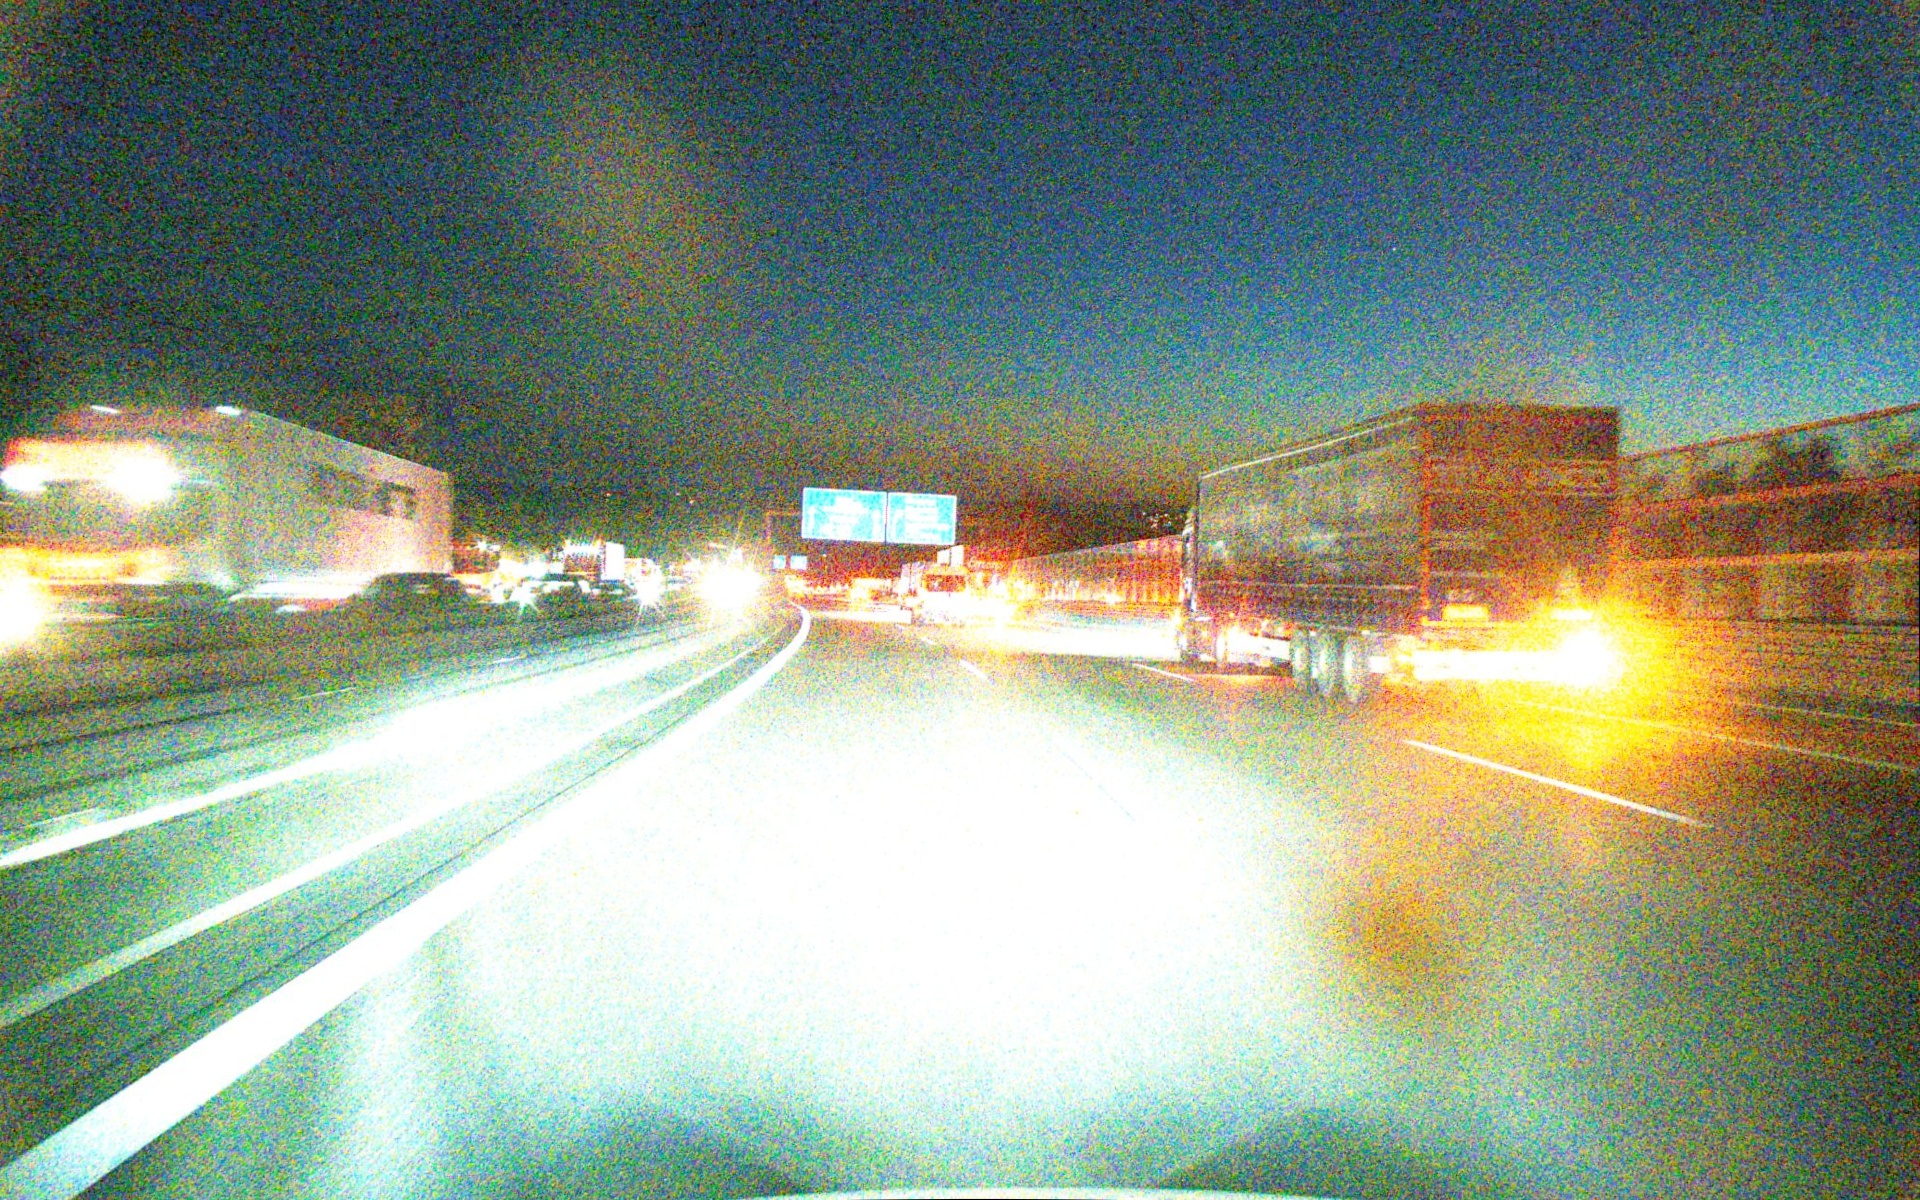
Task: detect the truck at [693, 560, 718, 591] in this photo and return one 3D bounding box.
[{"bbox_3d":[-32.980,-3.132,214.645,2.820,3.737,6.768,4,-1,-8],"label":"truck"}]

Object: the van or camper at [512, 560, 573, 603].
[{"bbox_3d":[-21.343,-0.925,84.826,2.146,2.049,7.628,2,0,-8],"label":"van or camper"}]

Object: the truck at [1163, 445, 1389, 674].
[{"bbox_3d":[6.225,-0.756,33.858,2.805,4.148,7.506,0,0,-3],"label":"truck"}]

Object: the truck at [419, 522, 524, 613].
[{"bbox_3d":[-19.475,-1.206,66.277,2.592,3.275,5.790,4,-1,-4],"label":"truck"}]

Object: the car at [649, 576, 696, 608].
[{"bbox_3d":[-13.184,-0.373,76.023,1.539,1.378,3.998,2,0,-2],"label":"car"}]

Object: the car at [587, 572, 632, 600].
[{"bbox_3d":[-17.961,-0.711,84.786,1.539,1.378,3.998,2,0,-2],"label":"car"}]

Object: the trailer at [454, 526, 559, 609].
[{"bbox_3d":[-19.959,-1.306,73.309,2.555,3.231,8.995,4,-1,-4],"label":"trailer"}]

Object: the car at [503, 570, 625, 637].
[{"bbox_3d":[-9.442,0.059,39.754,1.836,1.451,4.512,2,0,-1],"label":"car"}]

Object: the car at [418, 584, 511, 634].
[{"bbox_3d":[-14.402,0.250,48.266,1.539,1.338,4.159,2,0,-2],"label":"car"}]

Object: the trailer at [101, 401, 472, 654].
[{"bbox_3d":[-13.421,-1.154,34.725,3.029,4.159,12.440,4,-1,-3],"label":"trailer"}]

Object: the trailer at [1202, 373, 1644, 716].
[{"bbox_3d":[6.602,-0.707,26.708,2.797,4.138,13.197,0,0,-3],"label":"trailer"}]

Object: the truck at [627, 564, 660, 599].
[{"bbox_3d":[-30.109,-1.697,157.485,2.507,3.038,7.441,2,-1,-7],"label":"truck"}]

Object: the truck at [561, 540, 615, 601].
[{"bbox_3d":[-23.427,-1.814,104.470,2.357,3.575,6.715,3,0,-6],"label":"truck"}]

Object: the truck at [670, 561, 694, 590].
[{"bbox_3d":[-38.837,-3.414,231.033,2.823,3.737,6.034,3,0,-12],"label":"truck"}]

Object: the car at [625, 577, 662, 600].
[{"bbox_3d":[-20.256,-0.752,106.047,1.761,1.378,4.236,2,0,-4],"label":"car"}]

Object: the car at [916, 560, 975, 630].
[{"bbox_3d":[-0.584,-0.147,69.105,2.289,2.686,5.246,2,-1,0],"label":"car"}]

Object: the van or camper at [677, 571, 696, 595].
[{"bbox_3d":[-31.887,-1.923,192.839,2.046,2.678,7.587,2,0,-10],"label":"van or camper"}]

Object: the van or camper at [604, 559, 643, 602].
[{"bbox_3d":[-27.380,-1.592,134.905,2.386,3.329,7.383,2,0,-7],"label":"van or camper"}]

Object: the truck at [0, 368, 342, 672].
[{"bbox_3d":[-12.997,-1.110,27.283,3.048,4.168,7.070,4,-1,-4],"label":"truck"}]

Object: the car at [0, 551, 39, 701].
[{"bbox_3d":[-12.748,0.321,18.443,1.953,1.842,5.485,0,0,-1],"label":"car"}]

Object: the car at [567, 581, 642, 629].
[{"bbox_3d":[-10.864,0.142,50.758,1.539,1.378,3.998,2,0,-2],"label":"car"}]

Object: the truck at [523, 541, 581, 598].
[{"bbox_3d":[-28.740,-2.062,116.924,2.348,3.690,11.164,3,0,-6],"label":"truck"}]

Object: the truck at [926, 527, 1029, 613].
[{"bbox_3d":[0.752,-1.555,101.165,3.840,4.708,20.988,0,0,-6],"label":"truck"}]

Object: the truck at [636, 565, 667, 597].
[{"bbox_3d":[-31.029,-1.877,166.535,2.507,3.038,7.441,2,-1,-7],"label":"truck"}]

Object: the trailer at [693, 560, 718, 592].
[{"bbox_3d":[-33.788,-3.102,220.259,2.832,3.735,12.194,4,-1,-8],"label":"trailer"}]

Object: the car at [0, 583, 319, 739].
[{"bbox_3d":[-8.617,0.554,17.702,1.667,1.451,4.513,0,0,1],"label":"car"}]

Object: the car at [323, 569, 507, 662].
[{"bbox_3d":[-9.768,0.246,30.028,1.806,1.451,4.512,4,0,-1],"label":"car"}]

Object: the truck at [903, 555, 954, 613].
[{"bbox_3d":[-2.772,-1.367,140.670,3.279,4.553,13.896,3,0,-5],"label":"truck"}]
